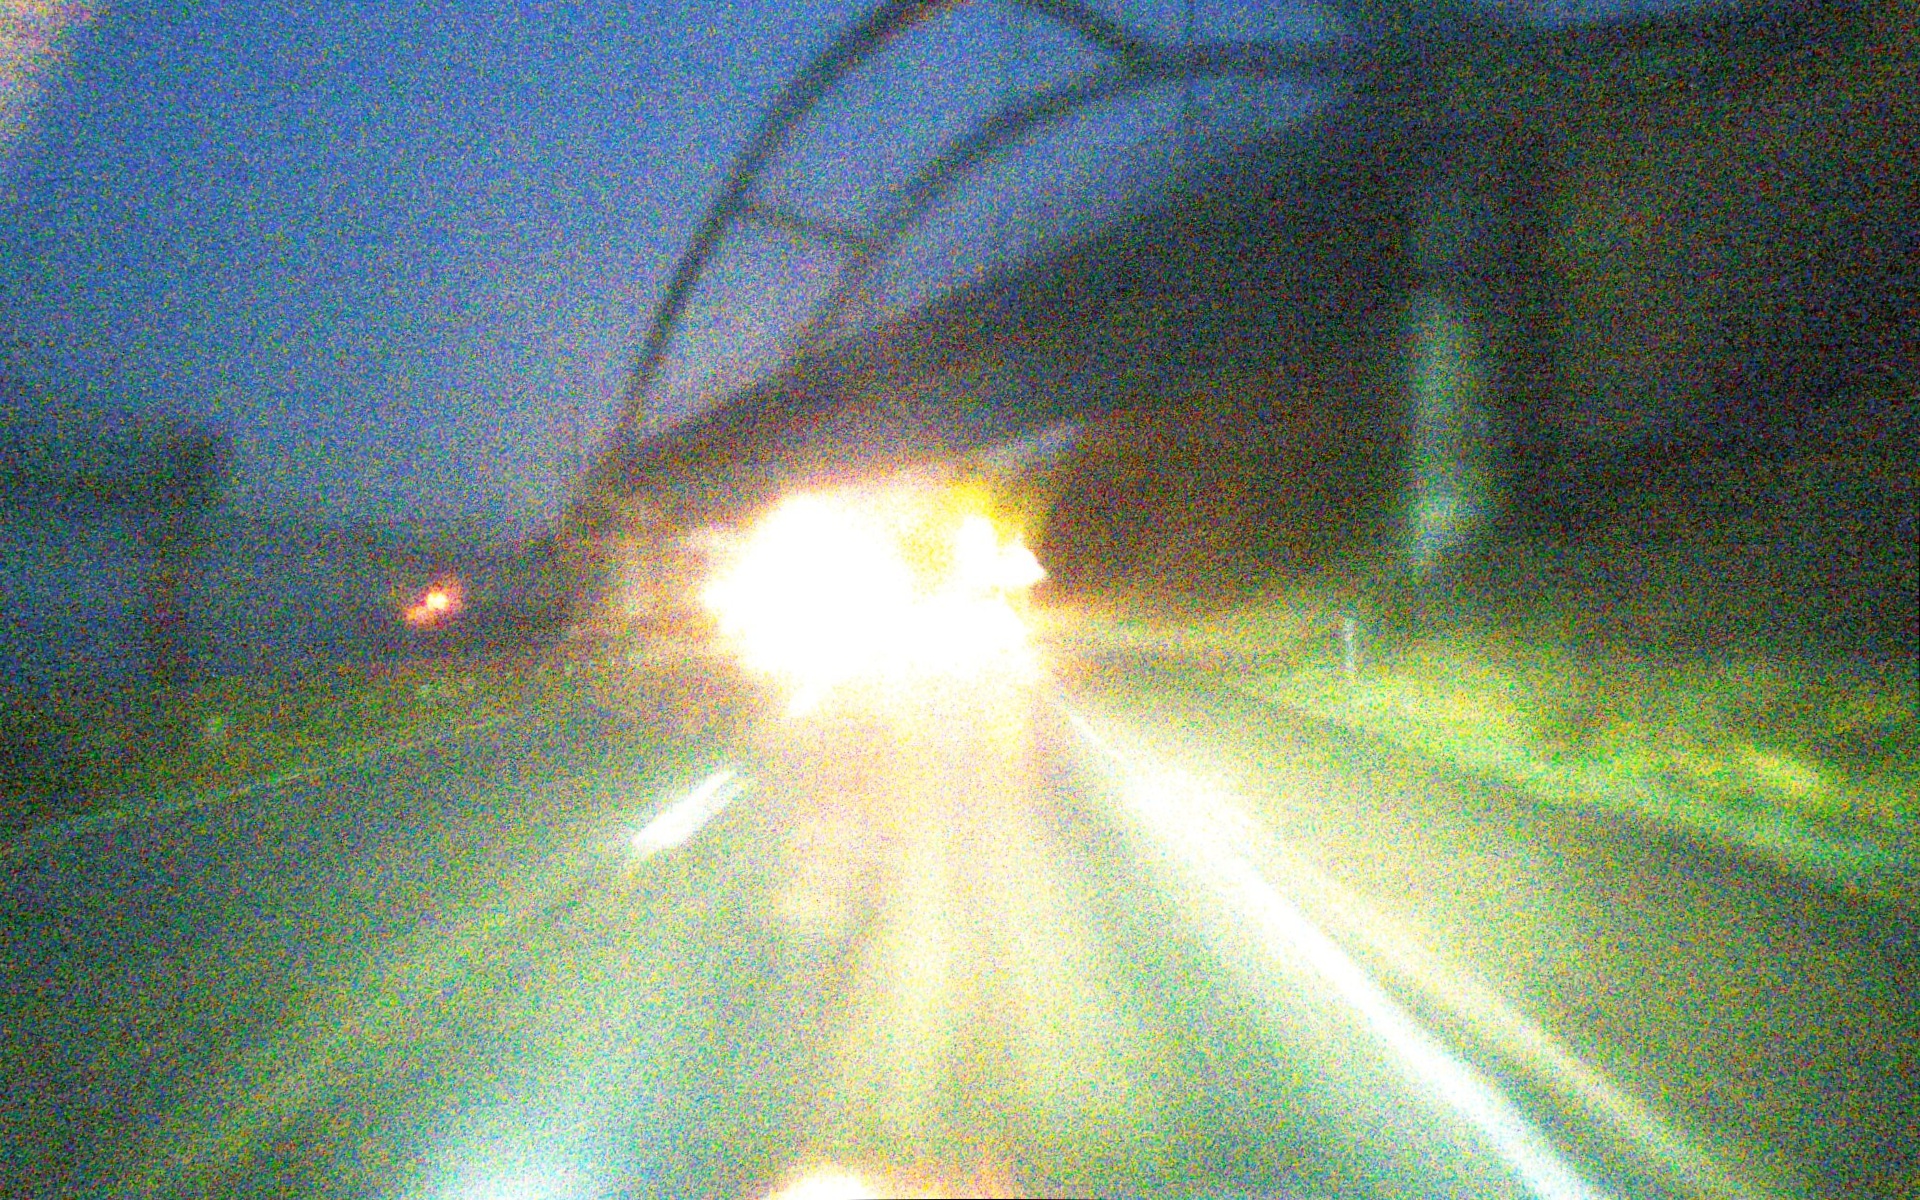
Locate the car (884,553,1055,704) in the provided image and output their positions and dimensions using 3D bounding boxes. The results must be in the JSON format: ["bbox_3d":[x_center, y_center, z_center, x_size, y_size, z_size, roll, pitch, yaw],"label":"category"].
[{"bbox_3d":[0.094,0.421,28.912,2.660,2.348,6.099,0,0,-1],"label":"car"}]

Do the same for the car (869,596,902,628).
[{"bbox_3d":[-4.819,0.780,106.111,1.954,1.948,3.996,1,0,-5],"label":"car"}]
